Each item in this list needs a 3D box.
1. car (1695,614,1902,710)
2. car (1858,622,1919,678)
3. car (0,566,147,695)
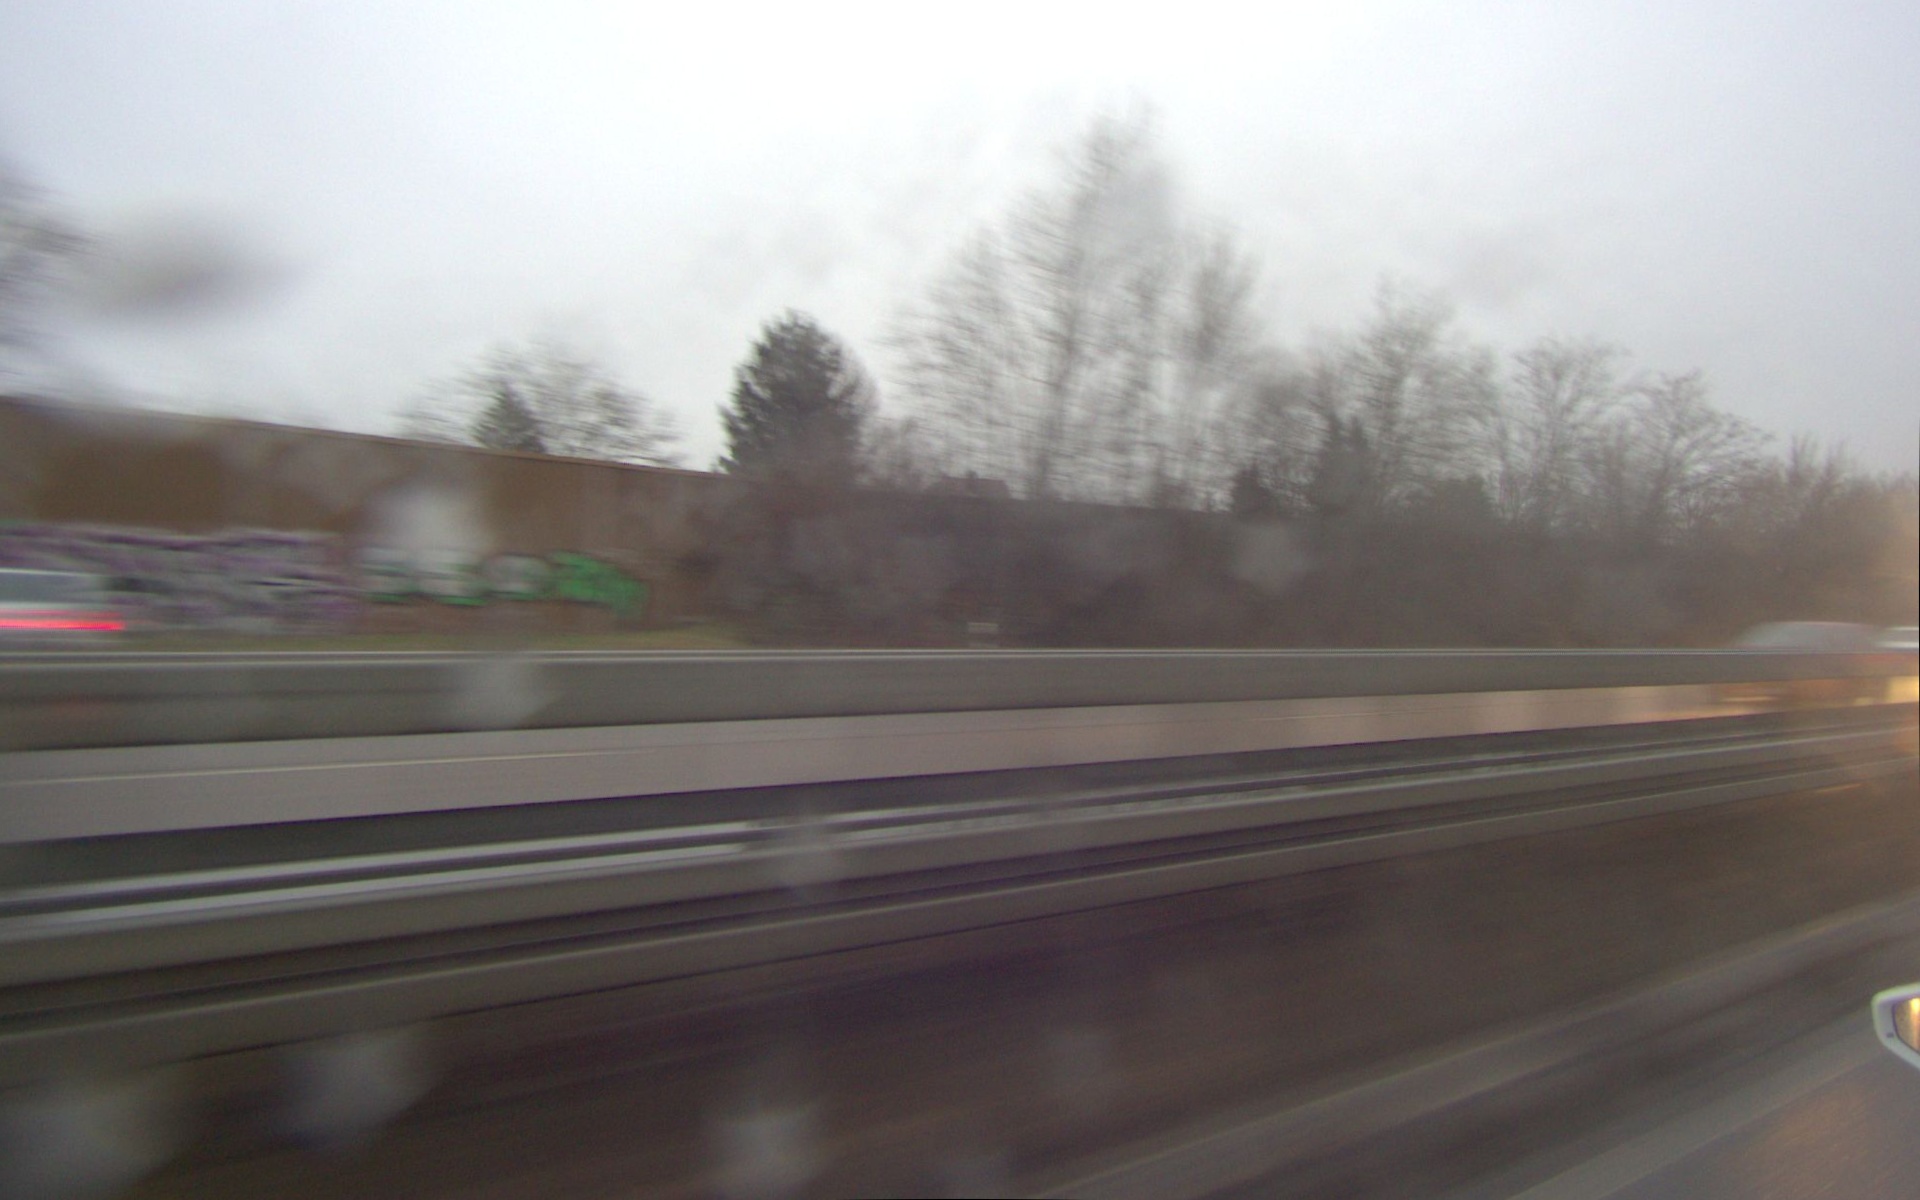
[{"bbox_3d":[15.136,1.064,18.091,3.800,1.514,1.727,2,0,-32],"label":"car"},{"bbox_3d":[30.015,1.553,31.358,4.797,1.587,1.694,2,0,-32],"label":"car"},{"bbox_3d":[-15.825,0.421,15.699,4.378,1.939,1.991,2,0,-20],"label":"car"}]
